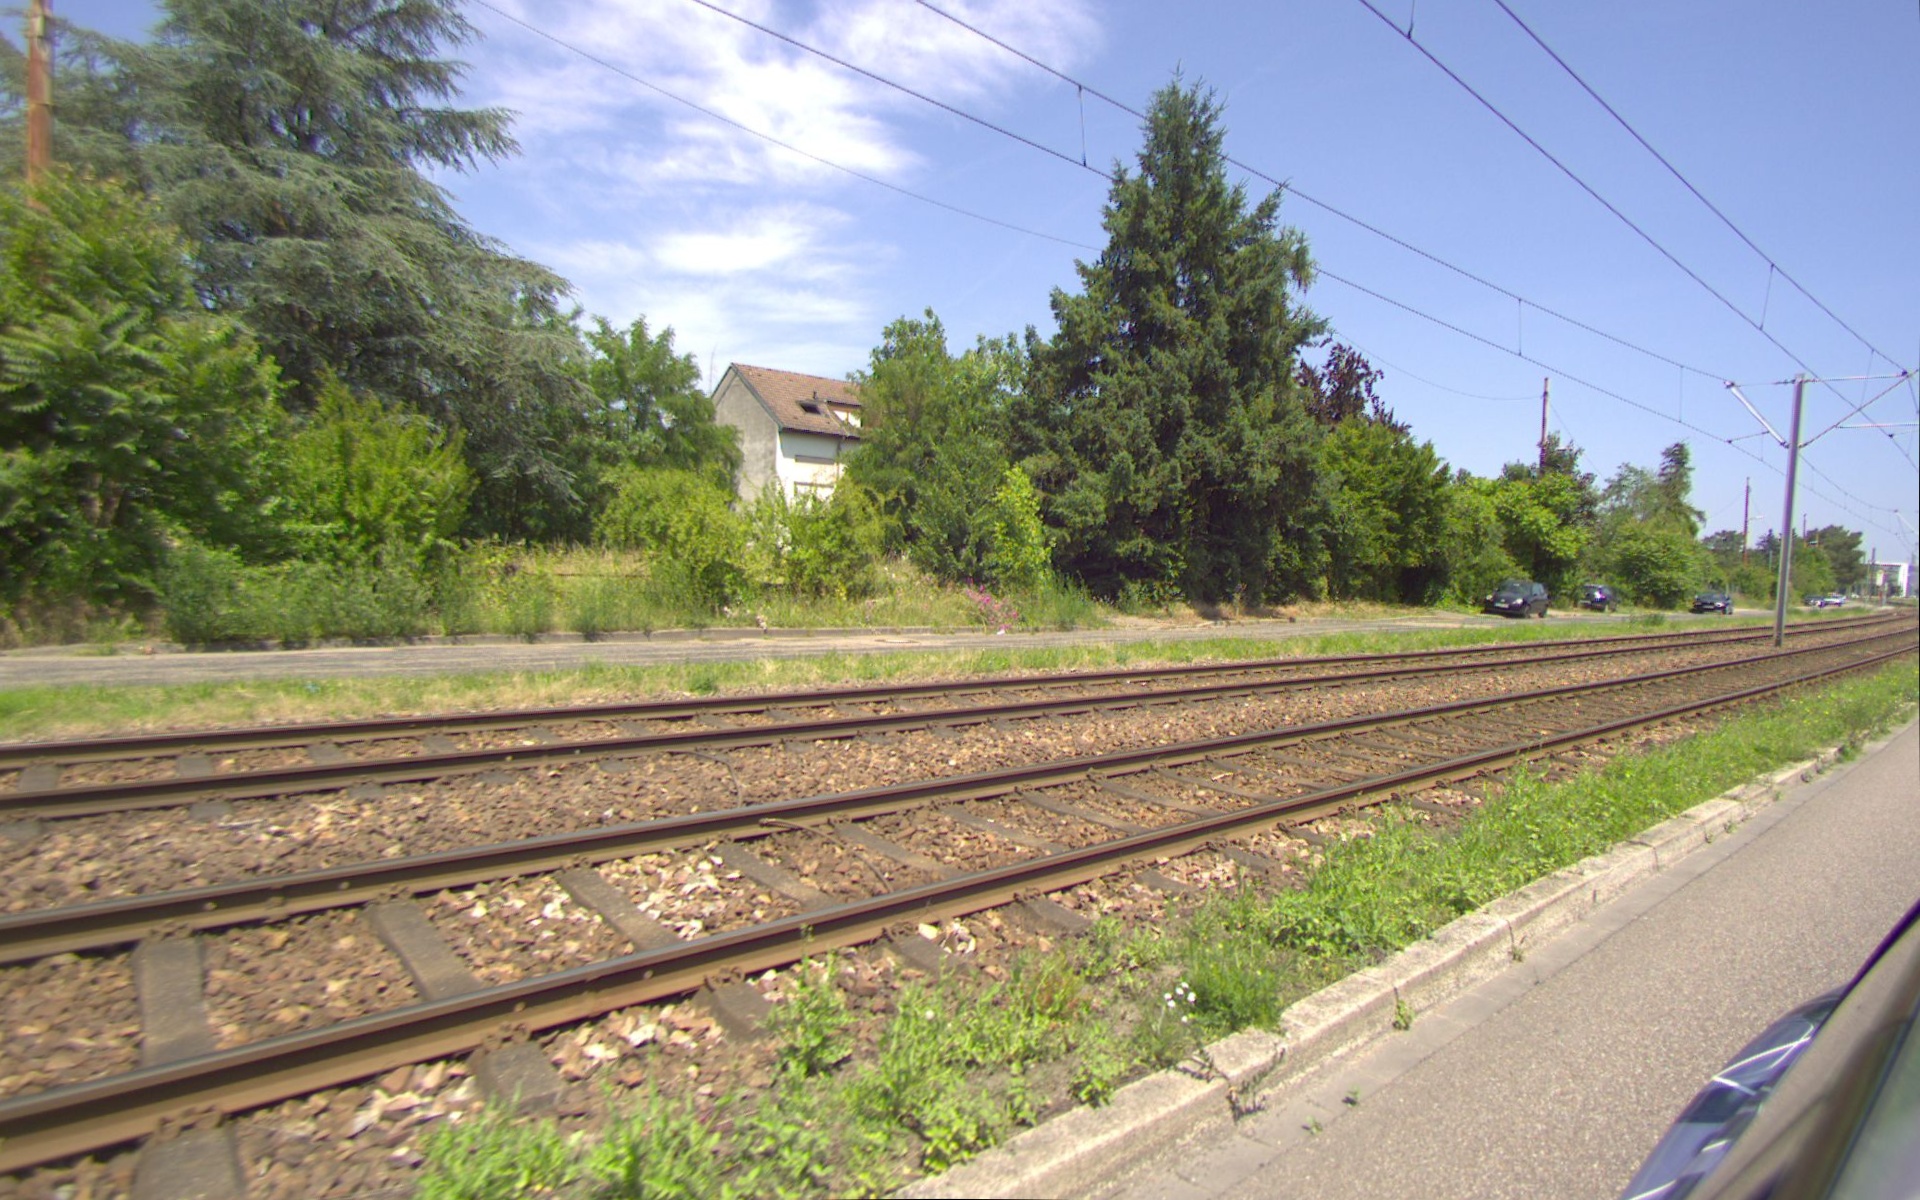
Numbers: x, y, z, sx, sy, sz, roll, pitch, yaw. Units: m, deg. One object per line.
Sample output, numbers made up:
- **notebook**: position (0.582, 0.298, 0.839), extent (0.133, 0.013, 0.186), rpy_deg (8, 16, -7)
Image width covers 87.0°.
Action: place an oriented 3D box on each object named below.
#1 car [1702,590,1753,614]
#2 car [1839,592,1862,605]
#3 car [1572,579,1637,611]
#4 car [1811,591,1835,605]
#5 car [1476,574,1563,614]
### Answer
- **car**: position (47.041, 0.072, 61.983), extent (4.442, 1.346, 1.862), rpy_deg (-1, 3, -45)
- **car**: position (109.246, -0.199, 124.119), extent (1.940, 1.439, 3.937), rpy_deg (3, 3, 43)
- **car**: position (34.397, -0.296, 53.976), extent (4.482, 1.580, 1.936), rpy_deg (-1, 3, -45)
- **car**: position (95.436, -0.206, 111.908), extent (1.621, 1.439, 4.795), rpy_deg (3, 3, 44)
- **car**: position (22.929, -0.261, 41.435), extent (3.932, 1.488, 1.917), rpy_deg (0, 3, -42)
